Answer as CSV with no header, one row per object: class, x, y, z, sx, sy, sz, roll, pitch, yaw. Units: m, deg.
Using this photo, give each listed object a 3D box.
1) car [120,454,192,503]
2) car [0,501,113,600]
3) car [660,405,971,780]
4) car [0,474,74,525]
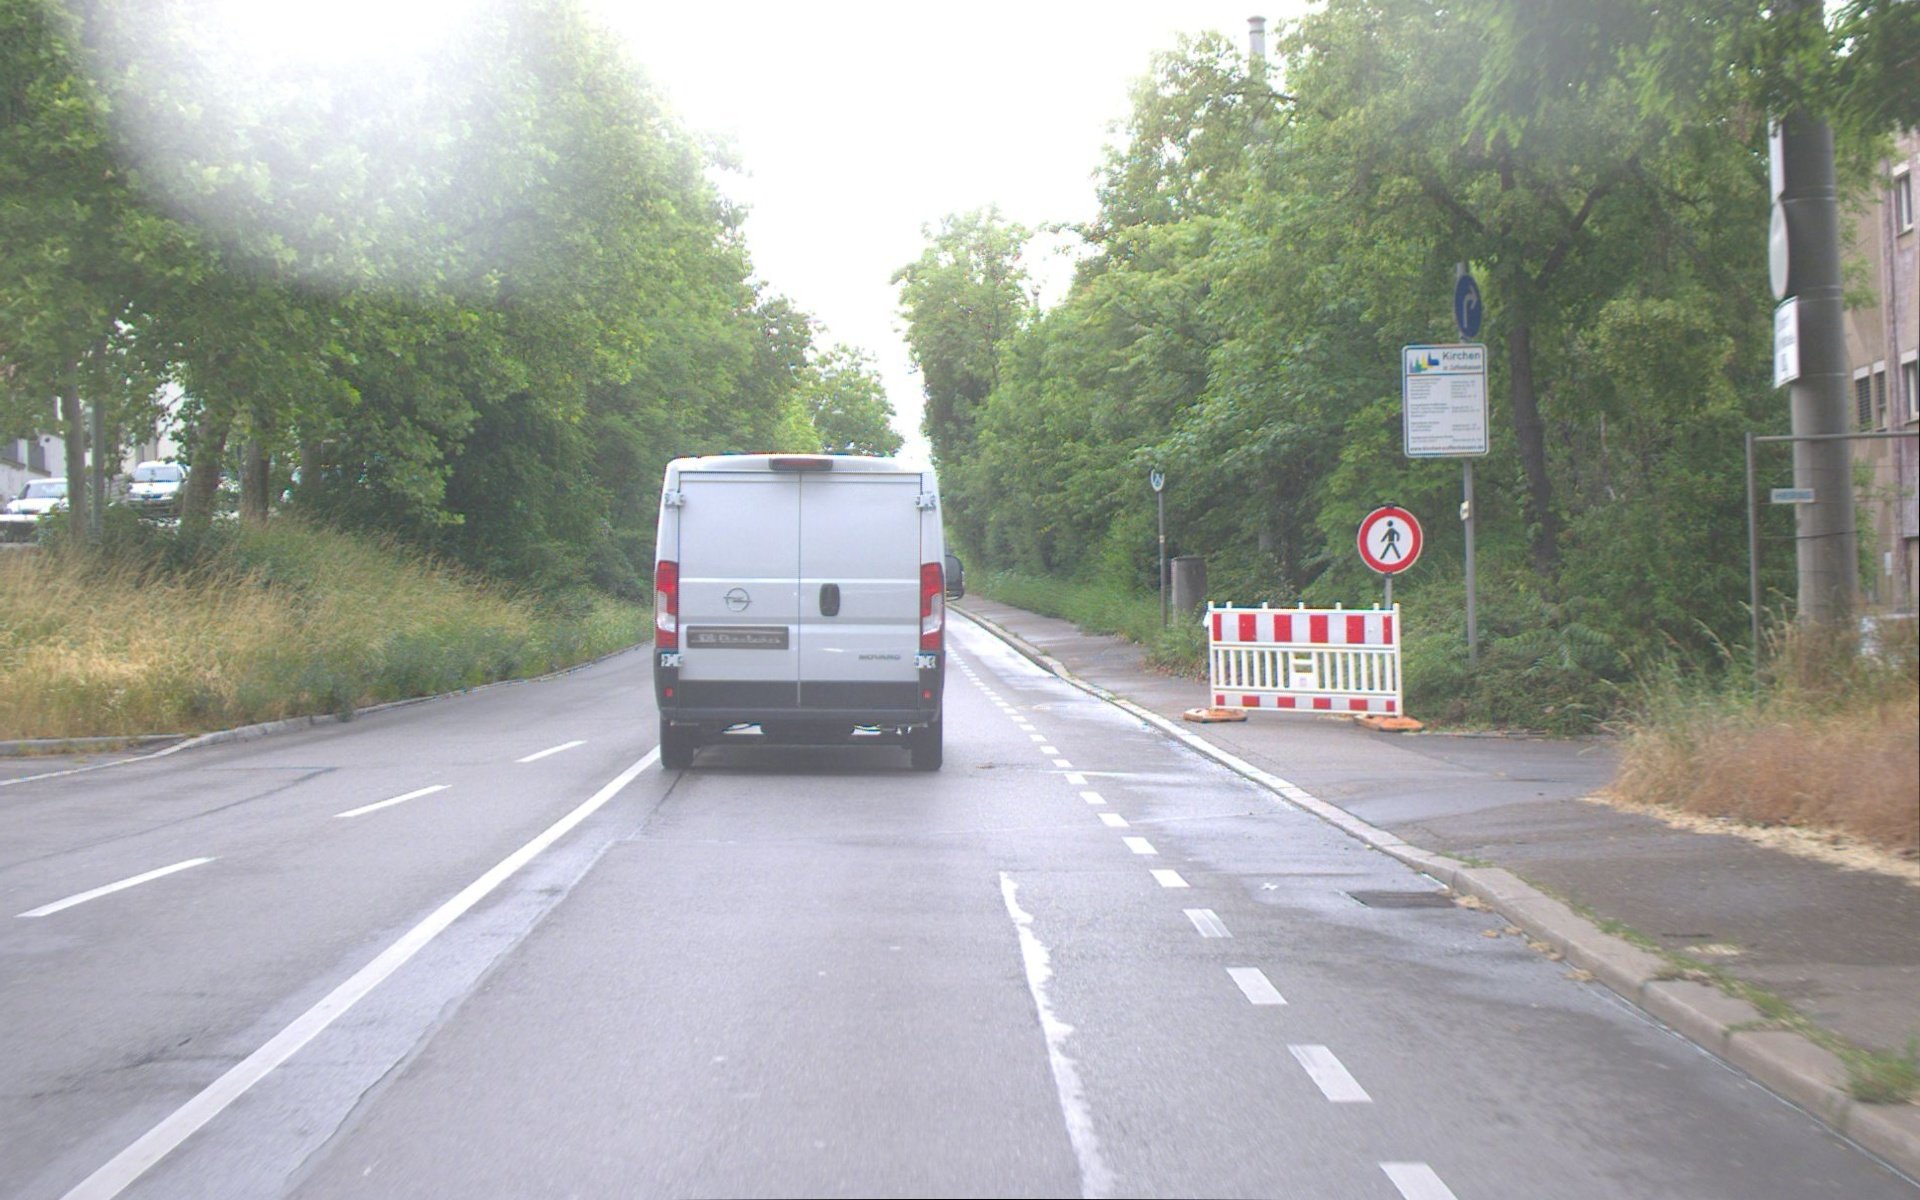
car,-23.716,-3.576,101.481,1.599,1.246,2.911,-1,-1,-4
car,-13.831,-0.719,51.764,1.435,1.357,3.175,-1,-1,-2
car,-1.033,-0.104,26.045,2.050,2.508,4.944,2,1,-1
car,-22.799,-2.480,84.983,1.213,1.129,2.452,-1,-1,-1
